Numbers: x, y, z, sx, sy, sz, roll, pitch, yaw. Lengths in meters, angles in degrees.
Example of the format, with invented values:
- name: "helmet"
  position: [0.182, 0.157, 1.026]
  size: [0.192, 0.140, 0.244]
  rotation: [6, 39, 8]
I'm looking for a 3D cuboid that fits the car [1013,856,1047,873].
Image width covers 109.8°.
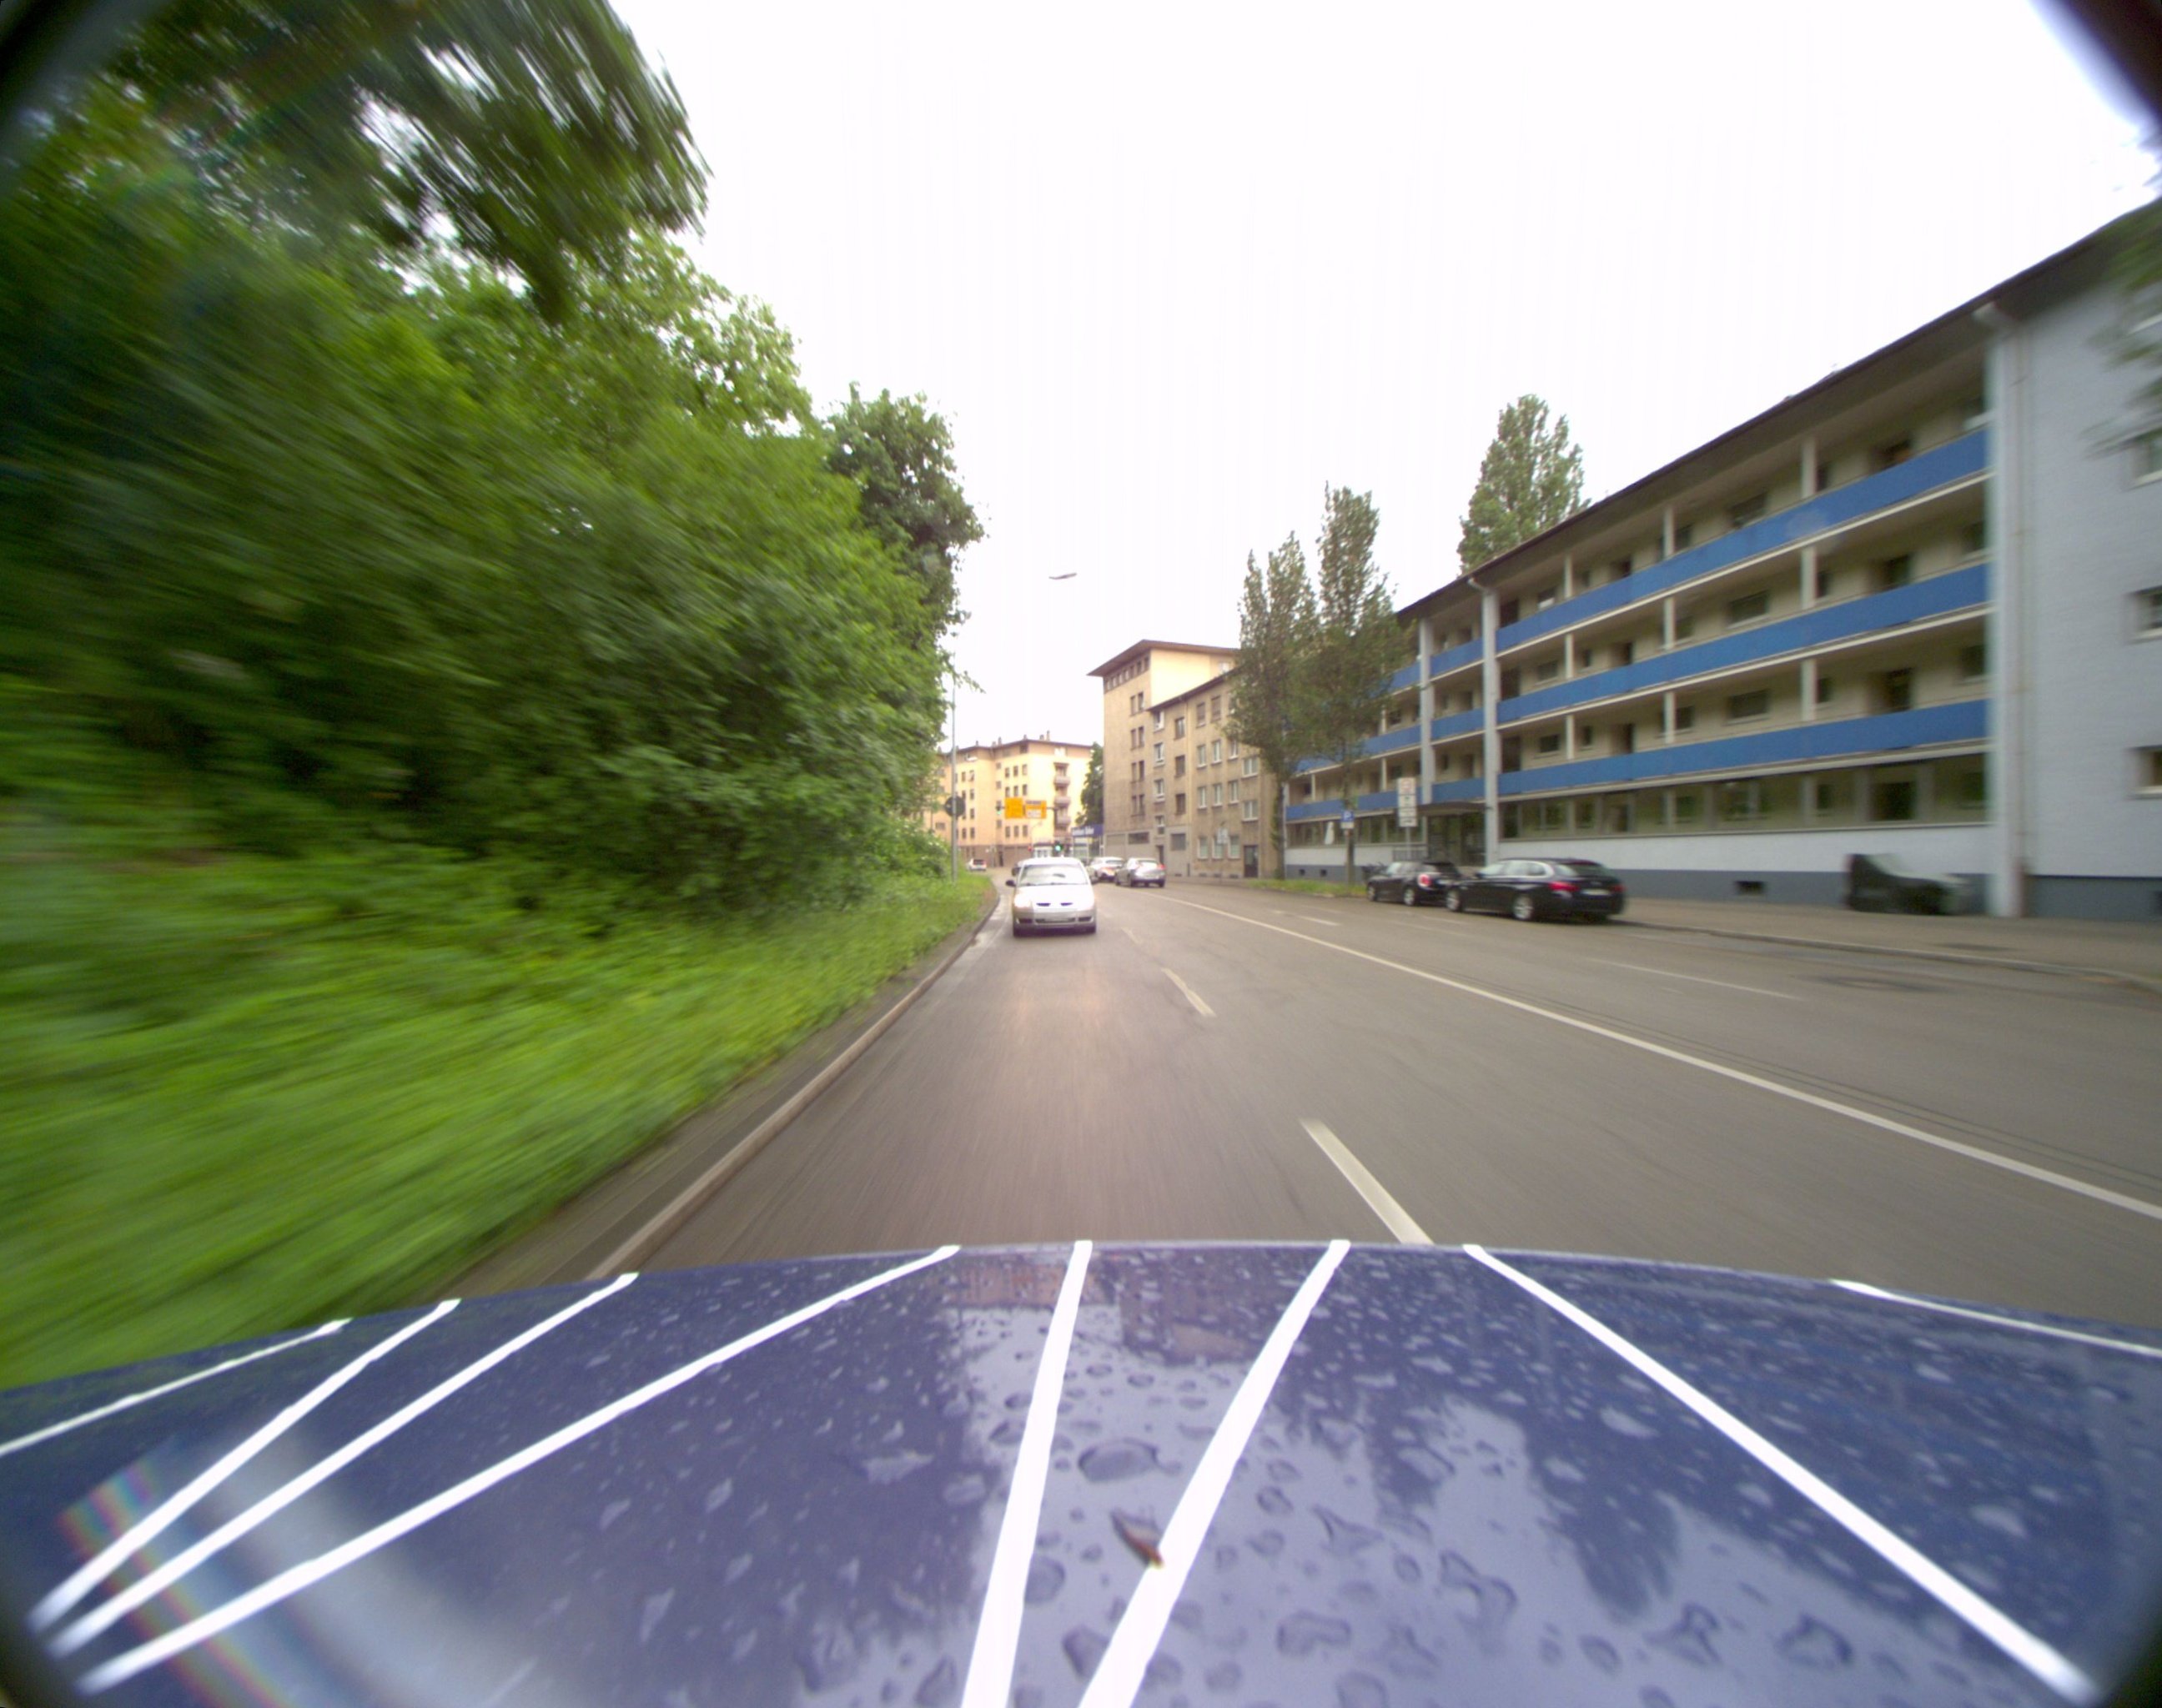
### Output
- name: "car"
  position: [-4.354, 0.877, 64.462]
  size: [1.798, 1.399, 4.618]
  rotation: [0, 0, -19]

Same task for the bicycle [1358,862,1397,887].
- name: "bicycle"
  position: [12.818, 0.869, 32.908]
  size: [0.614, 1.017, 1.731]
  rotation: [0, 0, -19]

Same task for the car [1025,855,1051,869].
- name: "car"
  position: [-4.732, 0.896, 83.033]
  size: [1.665, 1.447, 3.993]
  rotation: [1, -1, -21]

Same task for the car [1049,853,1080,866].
- name: "car"
  position: [-2.252, 0.781, 105.107]
  size: [4.269, 1.638, 1.763]
  rotation: [1, 2, 44]

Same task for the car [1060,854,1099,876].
- name: "car"
  position: [-0.141, 0.754, 52.460]
  size: [1.686, 1.439, 3.815]
  rotation: [1, 0, -16]

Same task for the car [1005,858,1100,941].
- name: "car"
  position: [-0.591, 0.878, 16.483]
  size: [1.752, 1.510, 3.999]
  rotation: [-2, 0, -1]

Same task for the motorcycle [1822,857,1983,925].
- name: "motorcycle"
  position: [16.730, 0.712, 15.576]
  size: [0.677, 1.247, 2.235]
  rotation: [-3, 0, -7]

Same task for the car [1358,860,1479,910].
- name: "car"
  position: [10.472, 0.916, 23.928]
  size: [1.785, 1.395, 4.087]
  rotation: [1, 0, -4]

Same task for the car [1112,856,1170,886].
- name: "car"
  position: [2.982, 0.807, 38.517]
  size: [1.759, 1.417, 4.532]
  rotation: [-1, 0, -11]

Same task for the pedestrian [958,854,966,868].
- name: "pedestrian"
  position: [-17.652, 1.091, 112.948]
  size: [0.812, 2.002, 0.856]
  rotation: [-2, 0, -37]

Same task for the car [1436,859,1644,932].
- name: "car"
  position: [10.664, 0.883, 18.194]
  size: [1.826, 1.431, 4.891]
  rotation: [1, 0, -3]

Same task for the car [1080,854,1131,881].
- name: "car"
  position: [1.411, 0.778, 46.158]
  size: [1.827, 1.507, 5.022]
  rotation: [1, 0, -13]

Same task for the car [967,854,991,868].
- name: "car"
  position: [-11.686, 0.806, 86.910]
  size: [1.793, 1.487, 4.208]
  rotation: [1, 0, -21]

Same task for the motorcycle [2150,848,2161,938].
- name: "motorcycle"
  position: [17.516, 0.601, 11.019]
  size: [0.677, 1.406, 2.234]
  rotation: [-3, 1, -10]
